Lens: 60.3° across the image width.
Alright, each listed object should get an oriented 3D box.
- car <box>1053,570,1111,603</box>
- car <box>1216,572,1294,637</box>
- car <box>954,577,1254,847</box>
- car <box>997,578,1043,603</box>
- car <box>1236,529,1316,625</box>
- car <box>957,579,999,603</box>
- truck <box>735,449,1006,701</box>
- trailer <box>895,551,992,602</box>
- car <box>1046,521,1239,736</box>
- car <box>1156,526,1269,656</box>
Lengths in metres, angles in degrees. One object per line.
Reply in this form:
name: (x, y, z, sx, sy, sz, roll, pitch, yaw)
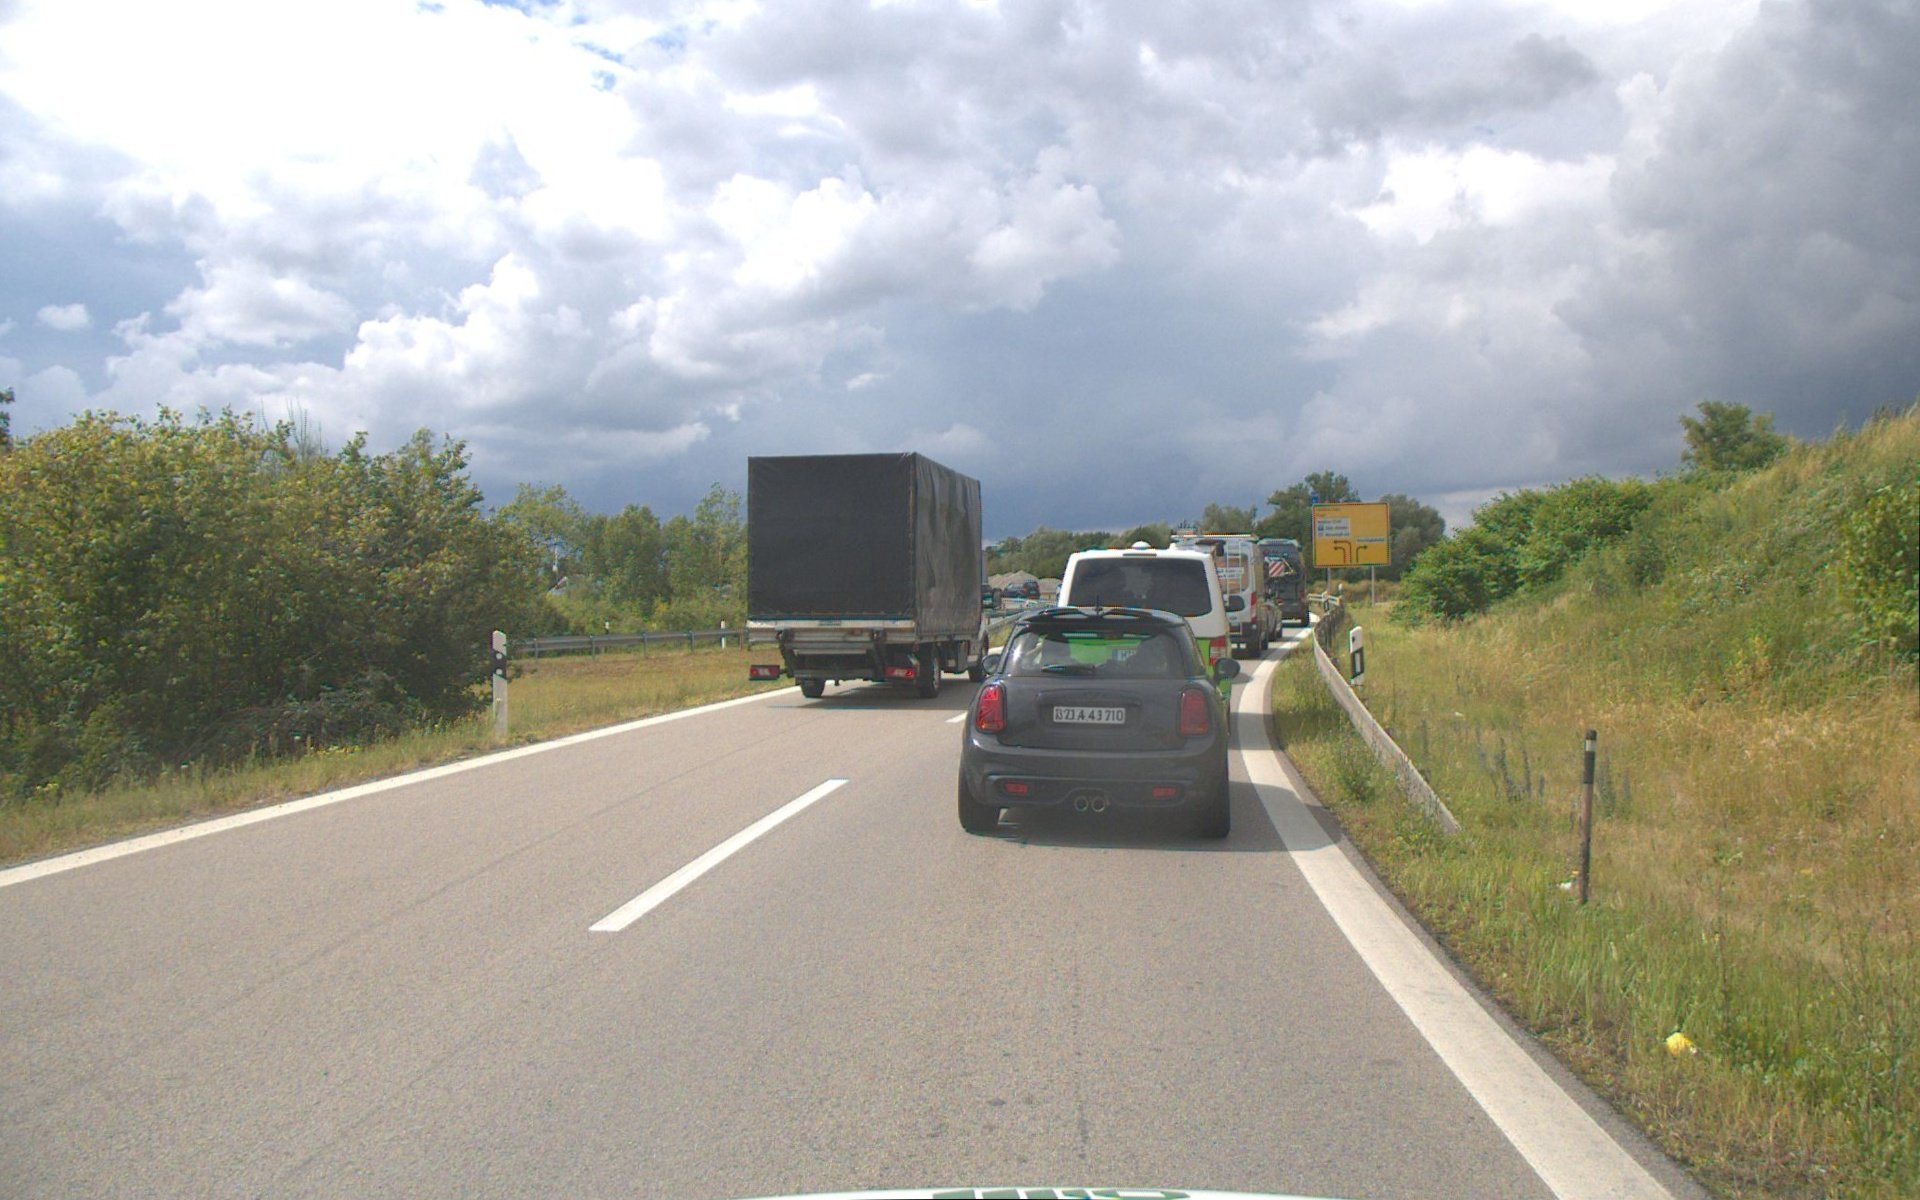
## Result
car: (8.879, -0.963, 120.734, 2.257, 2.300, 5.075, 1, -1, -21)
car: (8.096, 0.138, 45.139, 1.951, 1.671, 3.932, 1, -1, 12)
car: (1.101, 0.650, 11.659, 1.761, 1.573, 3.741, 0, 0, 8)
car: (4.640, -0.689, 128.529, 1.896, 1.870, 4.286, 1, -1, -23)
car: (11.063, -0.734, 57.524, 2.262, 3.122, 6.666, 1, -1, 15)
car: (1.383, -0.660, 126.691, 1.788, 1.786, 3.971, 1, -1, -23)
truck: (-1.063, -0.295, 25.034, 2.505, 3.223, 7.474, 1, -1, 9)
trailer: (-1.408, -1.902, 134.710, 3.018, 3.966, 8.644, 1, -1, -40)
car: (2.117, 0.276, 18.198, 1.870, 2.081, 4.184, 0, 0, 9)
car: (5.705, -0.163, 36.829, 2.164, 2.668, 5.539, 1, -1, 12)
